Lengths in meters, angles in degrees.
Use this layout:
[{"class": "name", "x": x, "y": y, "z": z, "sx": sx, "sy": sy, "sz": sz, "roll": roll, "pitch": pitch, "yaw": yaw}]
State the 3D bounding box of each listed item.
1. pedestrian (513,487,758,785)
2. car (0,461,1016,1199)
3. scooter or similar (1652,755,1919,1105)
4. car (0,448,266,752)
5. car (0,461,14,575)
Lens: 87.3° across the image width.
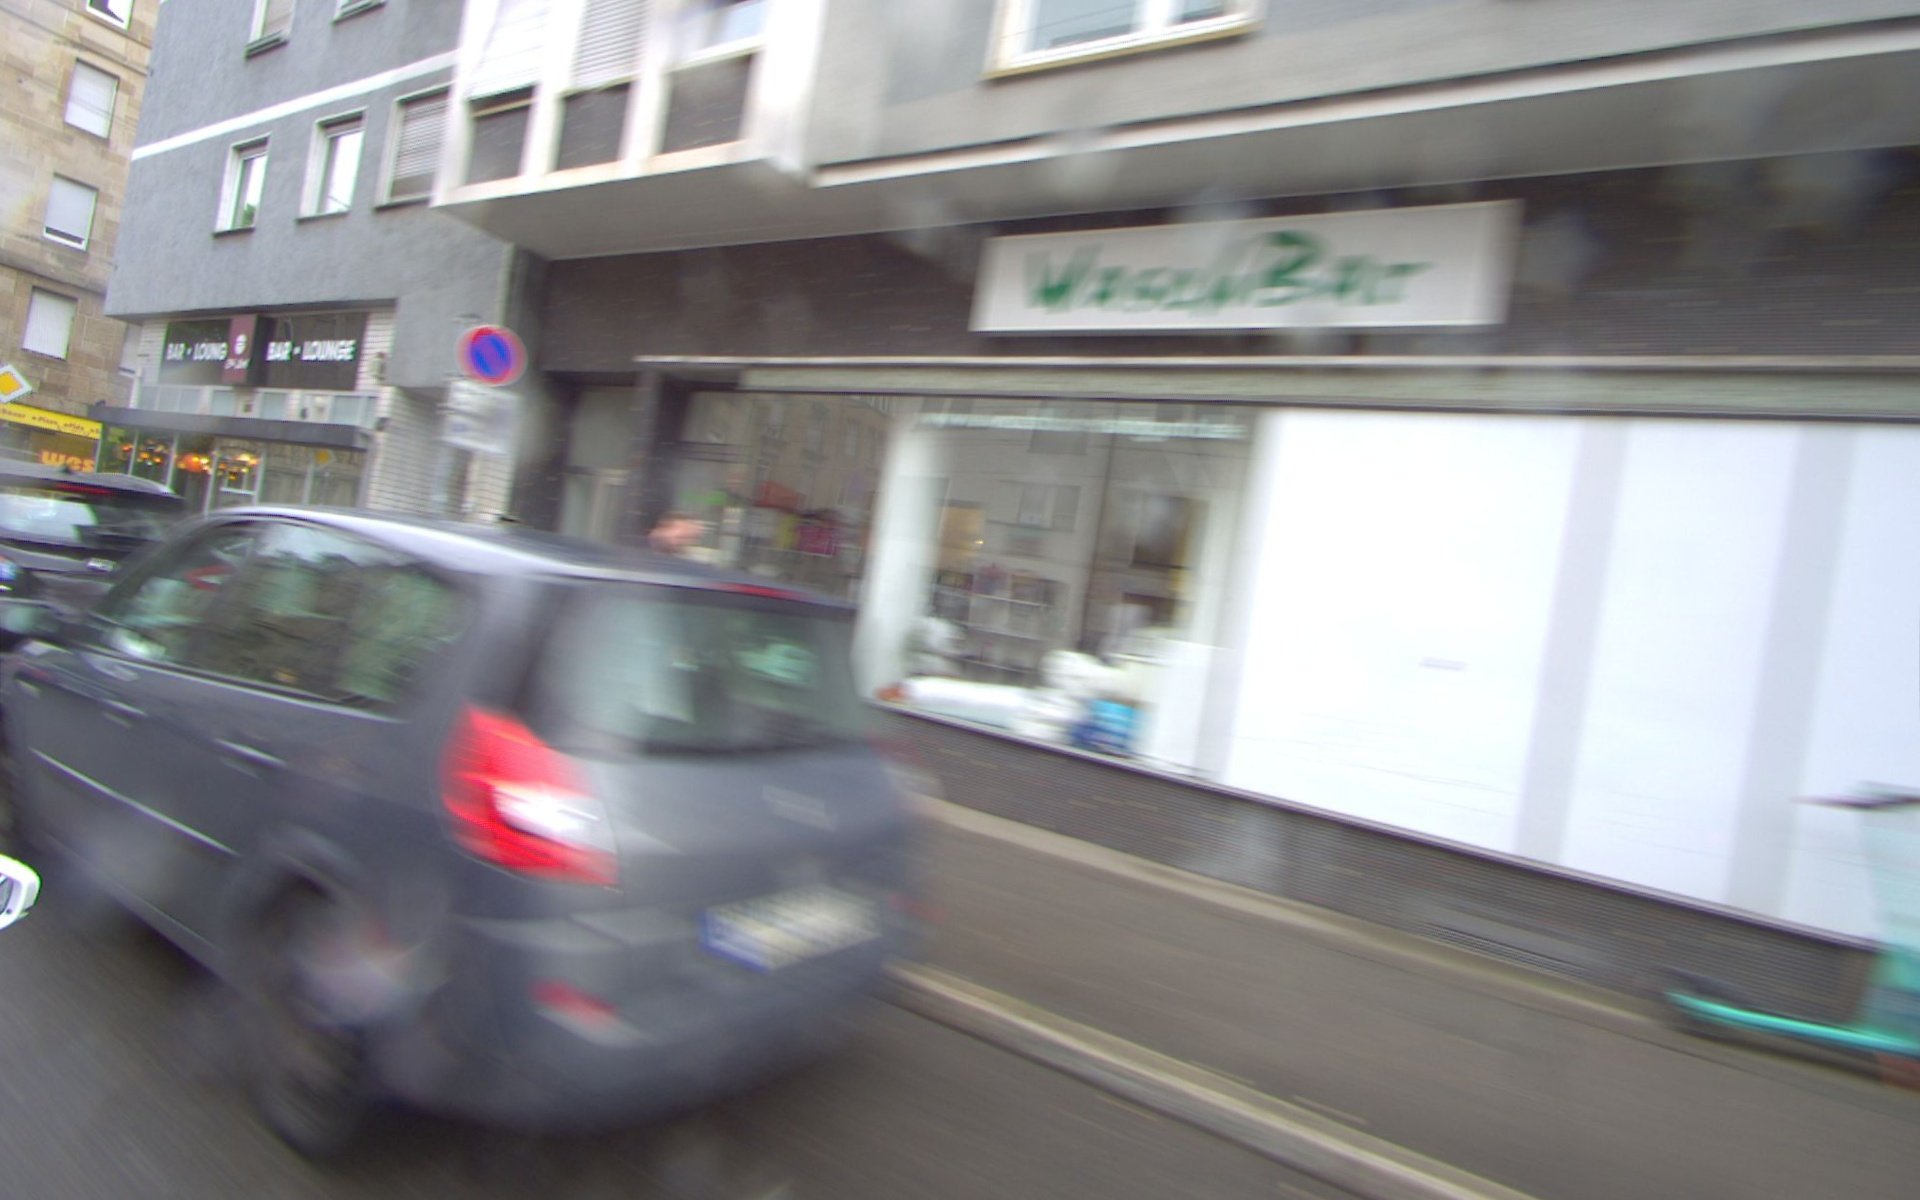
[{"class": "pedestrian", "x": -2.183, "y": 0.238, "z": 6.829, "sx": 0.998, "sy": 1.790, "sz": 0.947, "roll": 8, "pitch": -1, "yaw": 31}, {"class": "car", "x": -2.315, "y": 0.461, "z": 3.955, "sx": 4.668, "sy": 1.577, "sz": 1.768, "roll": 7, "pitch": -1, "yaw": 34}, {"class": "scooter or similar", "x": 3.757, "y": 1.394, "z": 4.360, "sx": 1.088, "sy": 1.230, "sz": 0.396, "roll": 8, "pitch": 0, "yaw": 32}, {"class": "car", "x": -6.824, "y": -0.170, "z": 7.016, "sx": 4.055, "sy": 1.690, "sz": 1.685, "roll": 7, "pitch": -1, "yaw": 32}, {"class": "car", "x": -11.339, "y": -0.768, "z": 9.960, "sx": 4.627, "sy": 1.690, "sz": 1.752, "roll": 7, "pitch": -1, "yaw": 33}]
